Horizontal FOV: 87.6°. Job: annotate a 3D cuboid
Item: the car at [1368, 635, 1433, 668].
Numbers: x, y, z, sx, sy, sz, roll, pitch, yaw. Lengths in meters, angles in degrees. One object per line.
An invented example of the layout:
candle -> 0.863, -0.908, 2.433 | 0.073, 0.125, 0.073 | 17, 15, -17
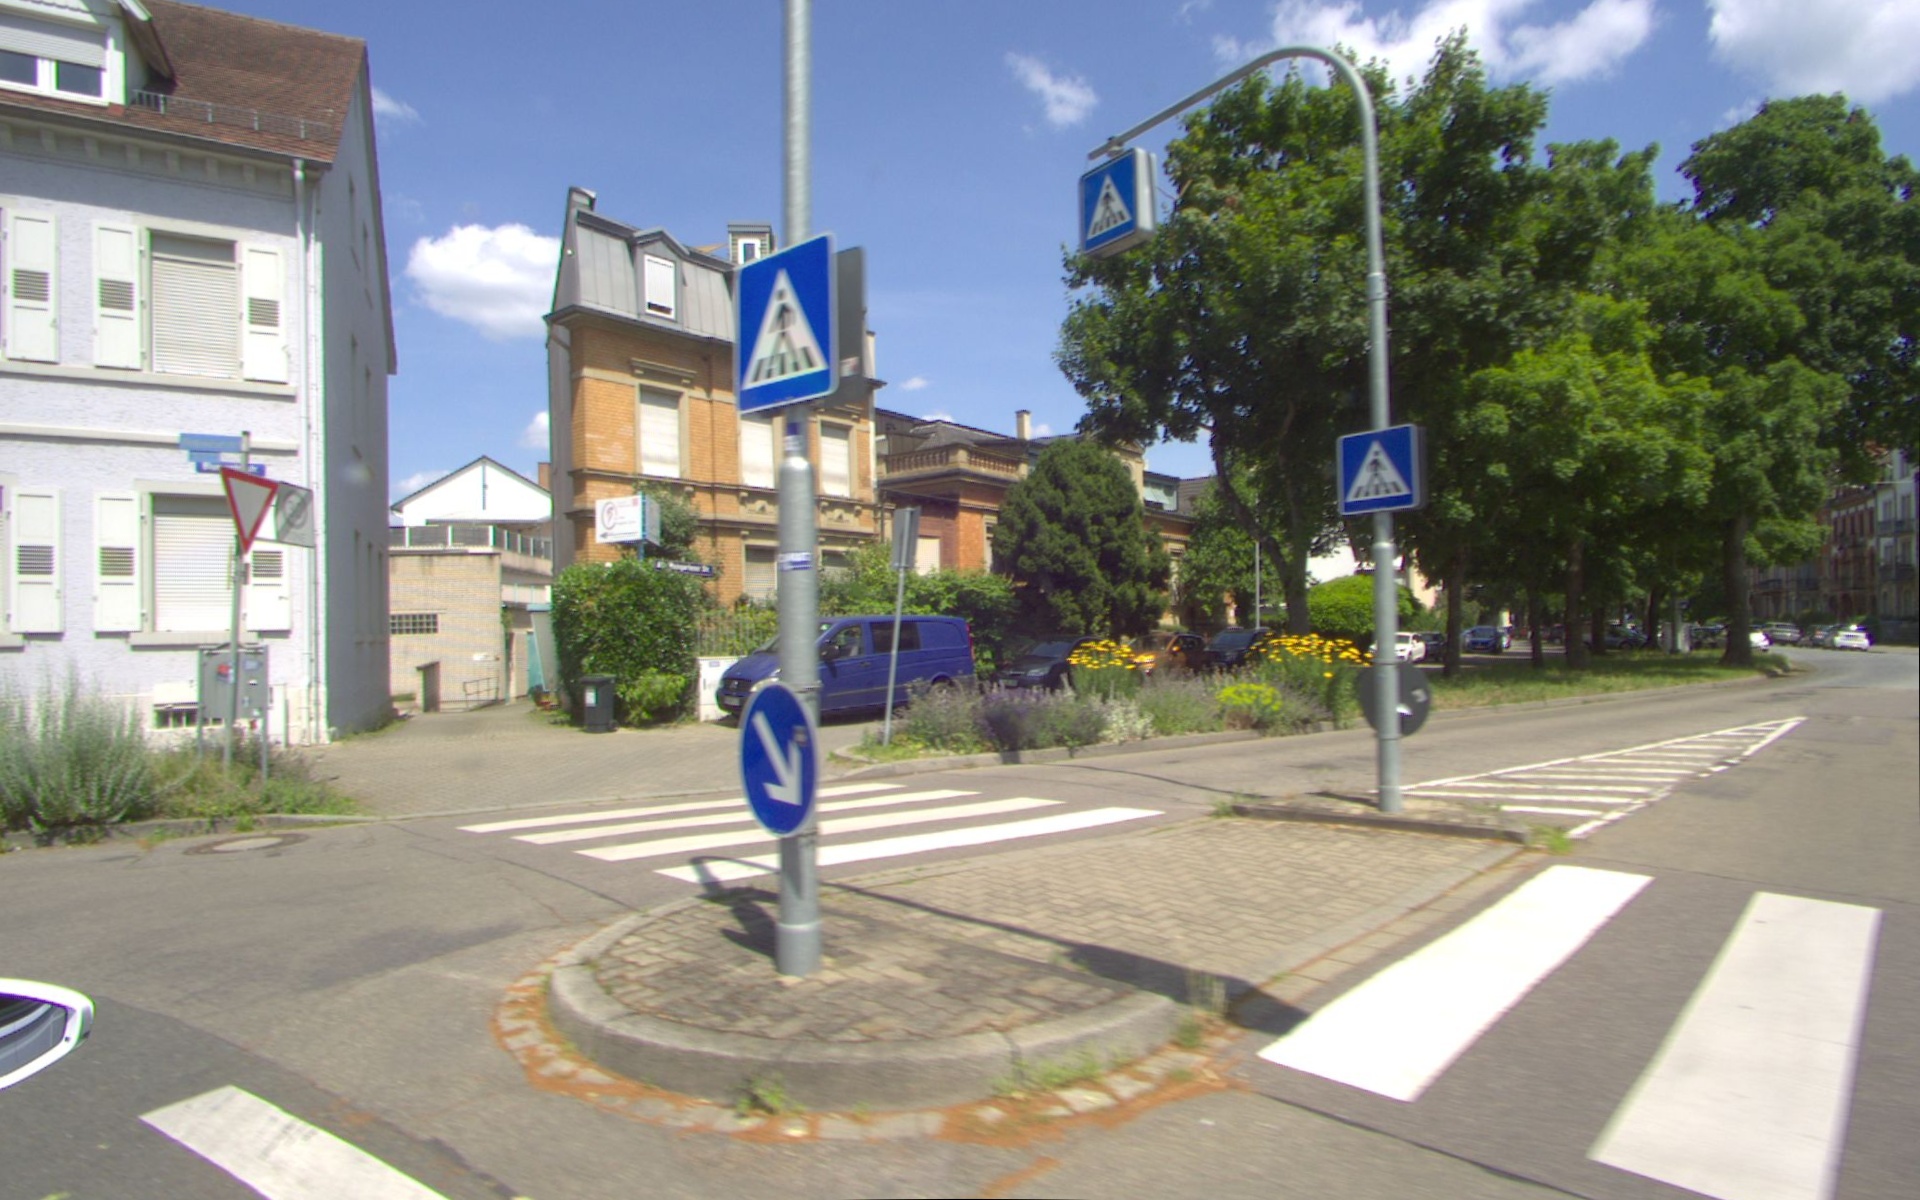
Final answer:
car -> 20.079, 2.351, 45.507 | 1.497, 1.410, 4.427 | -4, -5, 40

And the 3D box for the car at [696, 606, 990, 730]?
car -> -2.023, 1.115, 18.532 | 5.187, 1.973, 2.064 | 0, -1, -42

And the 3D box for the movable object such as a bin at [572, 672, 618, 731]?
movable object such as a bin -> -5.884, 1.631, 16.141 | 0.550, 0.927, 0.420 | -2, -3, 15

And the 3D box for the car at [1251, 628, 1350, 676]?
car -> 12.198, 1.884, 35.712 | 1.840, 1.610, 4.427 | -4, -5, 40

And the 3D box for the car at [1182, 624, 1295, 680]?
car -> 8.836, 1.675, 31.571 | 1.840, 1.610, 4.213 | -4, -5, 40

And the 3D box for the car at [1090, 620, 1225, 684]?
car -> 5.517, 1.472, 27.673 | 1.840, 1.610, 4.213 | -4, -5, 40
